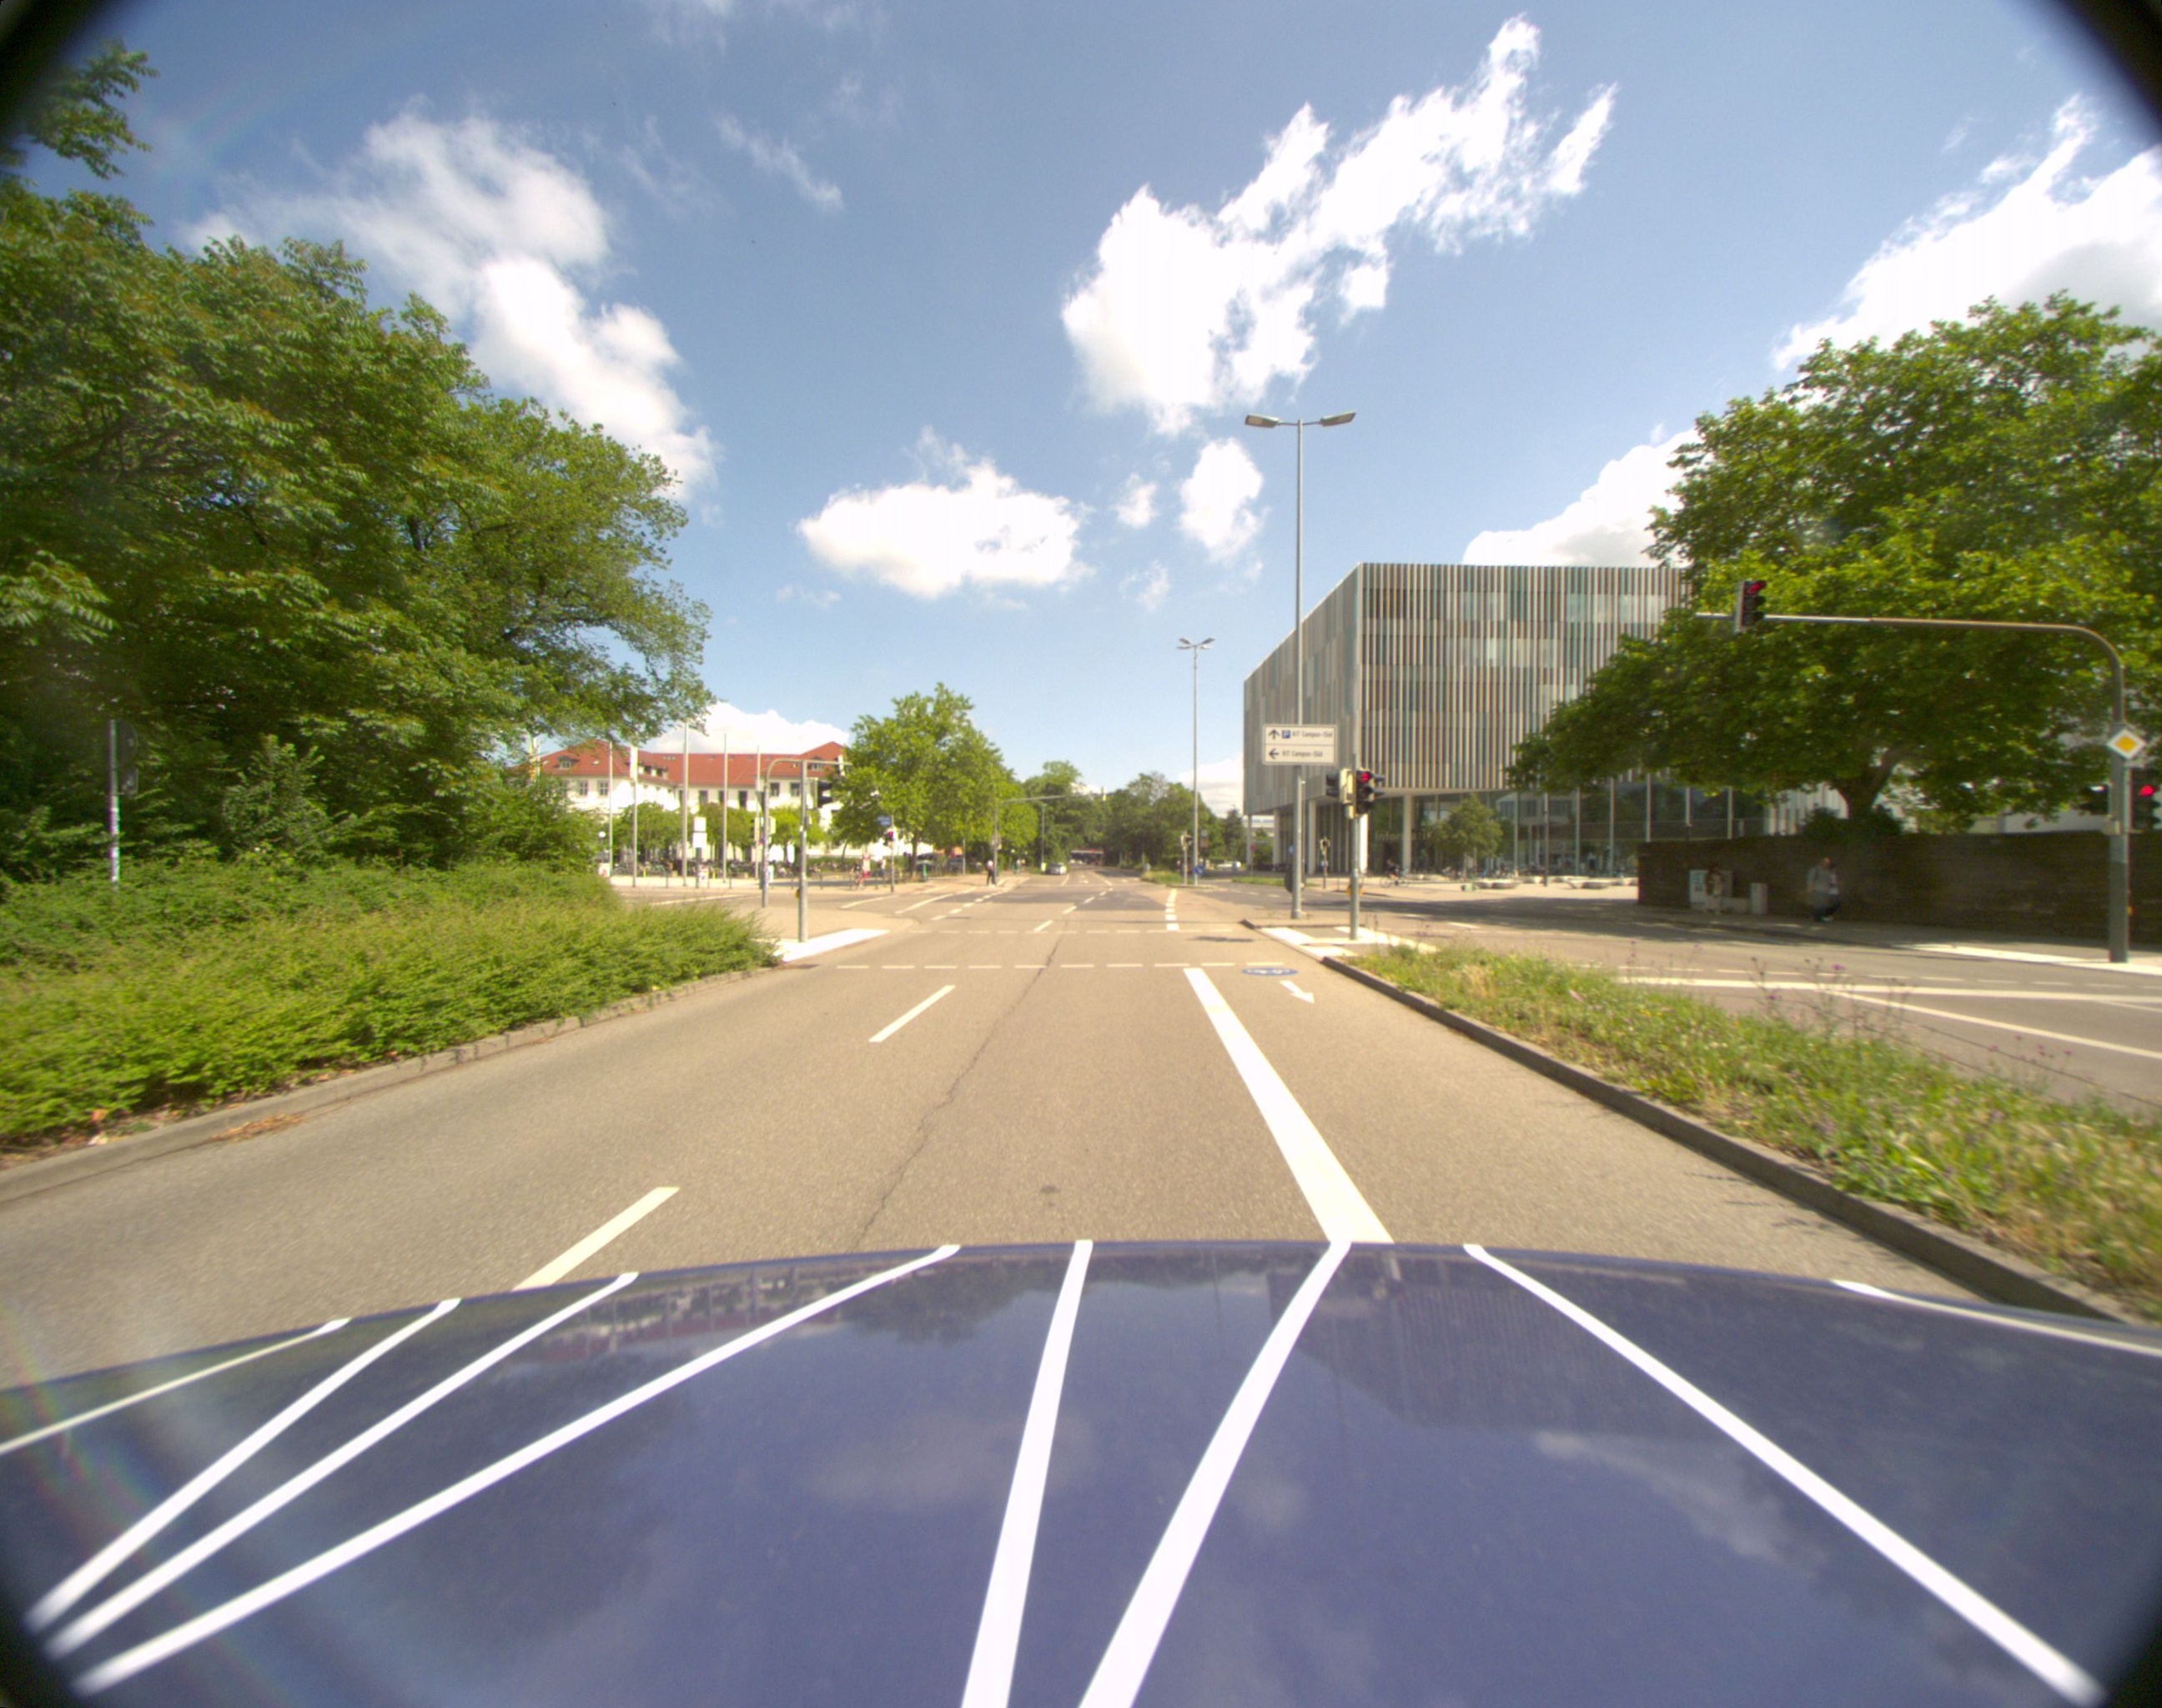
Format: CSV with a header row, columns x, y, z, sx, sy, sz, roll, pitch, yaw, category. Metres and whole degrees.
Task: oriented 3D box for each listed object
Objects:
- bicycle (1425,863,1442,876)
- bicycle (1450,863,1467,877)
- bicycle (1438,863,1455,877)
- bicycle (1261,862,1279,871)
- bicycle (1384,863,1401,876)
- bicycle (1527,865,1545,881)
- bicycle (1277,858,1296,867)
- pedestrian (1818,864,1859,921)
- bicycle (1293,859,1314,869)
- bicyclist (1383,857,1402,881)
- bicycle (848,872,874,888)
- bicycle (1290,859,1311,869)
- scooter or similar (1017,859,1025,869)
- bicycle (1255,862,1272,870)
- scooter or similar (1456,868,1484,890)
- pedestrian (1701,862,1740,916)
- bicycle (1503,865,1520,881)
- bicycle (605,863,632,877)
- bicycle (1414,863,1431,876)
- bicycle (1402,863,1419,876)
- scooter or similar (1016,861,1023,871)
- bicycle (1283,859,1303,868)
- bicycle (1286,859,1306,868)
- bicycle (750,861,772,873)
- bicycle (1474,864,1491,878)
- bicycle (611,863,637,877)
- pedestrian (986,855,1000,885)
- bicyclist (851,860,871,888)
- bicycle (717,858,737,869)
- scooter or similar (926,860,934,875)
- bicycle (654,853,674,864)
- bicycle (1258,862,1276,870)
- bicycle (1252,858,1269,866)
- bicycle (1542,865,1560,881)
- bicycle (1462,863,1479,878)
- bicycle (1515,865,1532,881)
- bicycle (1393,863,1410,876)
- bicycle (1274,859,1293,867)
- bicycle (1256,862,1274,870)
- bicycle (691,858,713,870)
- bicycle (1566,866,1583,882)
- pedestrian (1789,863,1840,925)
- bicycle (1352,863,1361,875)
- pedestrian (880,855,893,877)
x,y,z,sx,sy,sz,roll,pitch,yaw,category
29.076,1.275,62.668,0.720,1.090,2.223,0,0,40,bicycle
30.055,1.286,60.412,0.720,1.090,2.223,0,0,40,bicycle
29.443,1.280,61.198,0.720,1.090,2.223,0,0,40,bicycle
24.944,1.631,100.162,2.217,1.090,0.722,0,0,-5,bicycle
26.704,1.299,65.111,0.720,1.090,2.223,0,0,40,bicycle
33.664,1.384,56.226,0.745,1.183,2.324,0,0,40,bicycle
25.351,1.104,93.818,2.217,1.090,0.722,0,0,-5,bicycle
20.524,1.032,20.598,0.477,1.531,0.616,0,0,-3,pedestrian
25.522,1.120,87.239,2.217,1.090,0.722,0,0,-5,bicycle
19.203,0.926,46.872,0.944,1.456,0.633,0,0,34,bicyclist
-11.868,1.397,40.997,1.510,0.828,0.621,0,0,43,bicycle
25.479,1.175,88.225,2.217,1.090,0.755,0,0,-5,bicycle
-6.755,1.100,85.374,0.517,1.065,1.371,0,0,16,scooter or similar
24.793,1.586,103.309,2.217,1.083,0.722,0,0,-5,bicycle
20.745,1.313,40.493,1.504,1.150,0.502,0,0,-25,scooter or similar
19.890,1.090,23.646,0.562,1.641,0.727,0,0,-3,pedestrian
32.639,1.399,57.620,0.745,1.183,2.324,0,0,40,bicycle
-36.160,1.234,59.455,1.672,1.090,0.626,0,0,-5,bicycle
28.422,1.273,63.202,0.720,1.090,2.223,0,0,40,bicycle
27.869,1.282,64.164,0.720,1.090,2.223,0,0,40,bicycle
-6.709,1.265,82.730,0.518,1.071,1.442,0,0,8,scooter or similar
25.662,1.104,91.807,2.217,1.090,0.722,0,0,-5,bicycle
25.621,1.119,90.486,2.217,1.090,0.735,0,0,-5,bicycle
-28.050,1.132,66.579,1.672,1.090,0.626,0,0,-5,bicycle
31.367,1.300,59.384,0.720,1.090,2.223,0,0,40,bicycle
-36.194,1.240,60.185,1.672,1.090,0.626,0,0,-5,bicycle
-5.524,0.997,47.818,0.701,1.815,0.942,3,1,1,pedestrian
-11.868,1.061,40.997,0.916,1.498,0.614,1,1,43,bicyclist
-34.970,0.913,75.170,1.672,1.090,0.626,0,0,-5,bicycle
-11.596,1.035,58.273,0.347,1.122,1.168,0,0,2,scooter or similar
-41.170,0.455,75.005,1.672,1.090,0.626,0,0,-5,bicycle
24.785,1.618,101.233,2.217,1.090,0.722,0,0,-5,bicycle
25.390,1.162,107.621,2.217,1.090,0.722,0,0,-5,bicycle
34.425,1.372,55.653,0.745,1.183,2.324,0,0,40,bicycle
30.658,1.295,59.803,0.720,1.090,2.223,0,0,40,bicycle
33.269,1.390,57.113,0.745,1.183,2.324,0,0,40,bicycle
27.238,1.284,64.576,0.720,1.090,2.223,0,0,40,bicycle
25.275,1.116,94.801,2.217,1.090,0.722,0,0,-5,bicycle
24.823,1.615,102.337,2.217,1.090,0.722,0,0,-5,bicycle
-34.457,0.916,69.150,1.672,1.090,0.626,0,0,-5,bicycle
35.273,1.413,54.294,0.720,1.090,2.223,0,0,40,bicycle
19.872,1.064,20.592,0.642,1.641,0.731,0,0,-3,pedestrian
24.574,1.333,67.812,0.547,1.090,1.635,0,0,12,bicycle
-14.439,0.895,56.539,0.740,1.640,0.641,1,0,44,pedestrian
